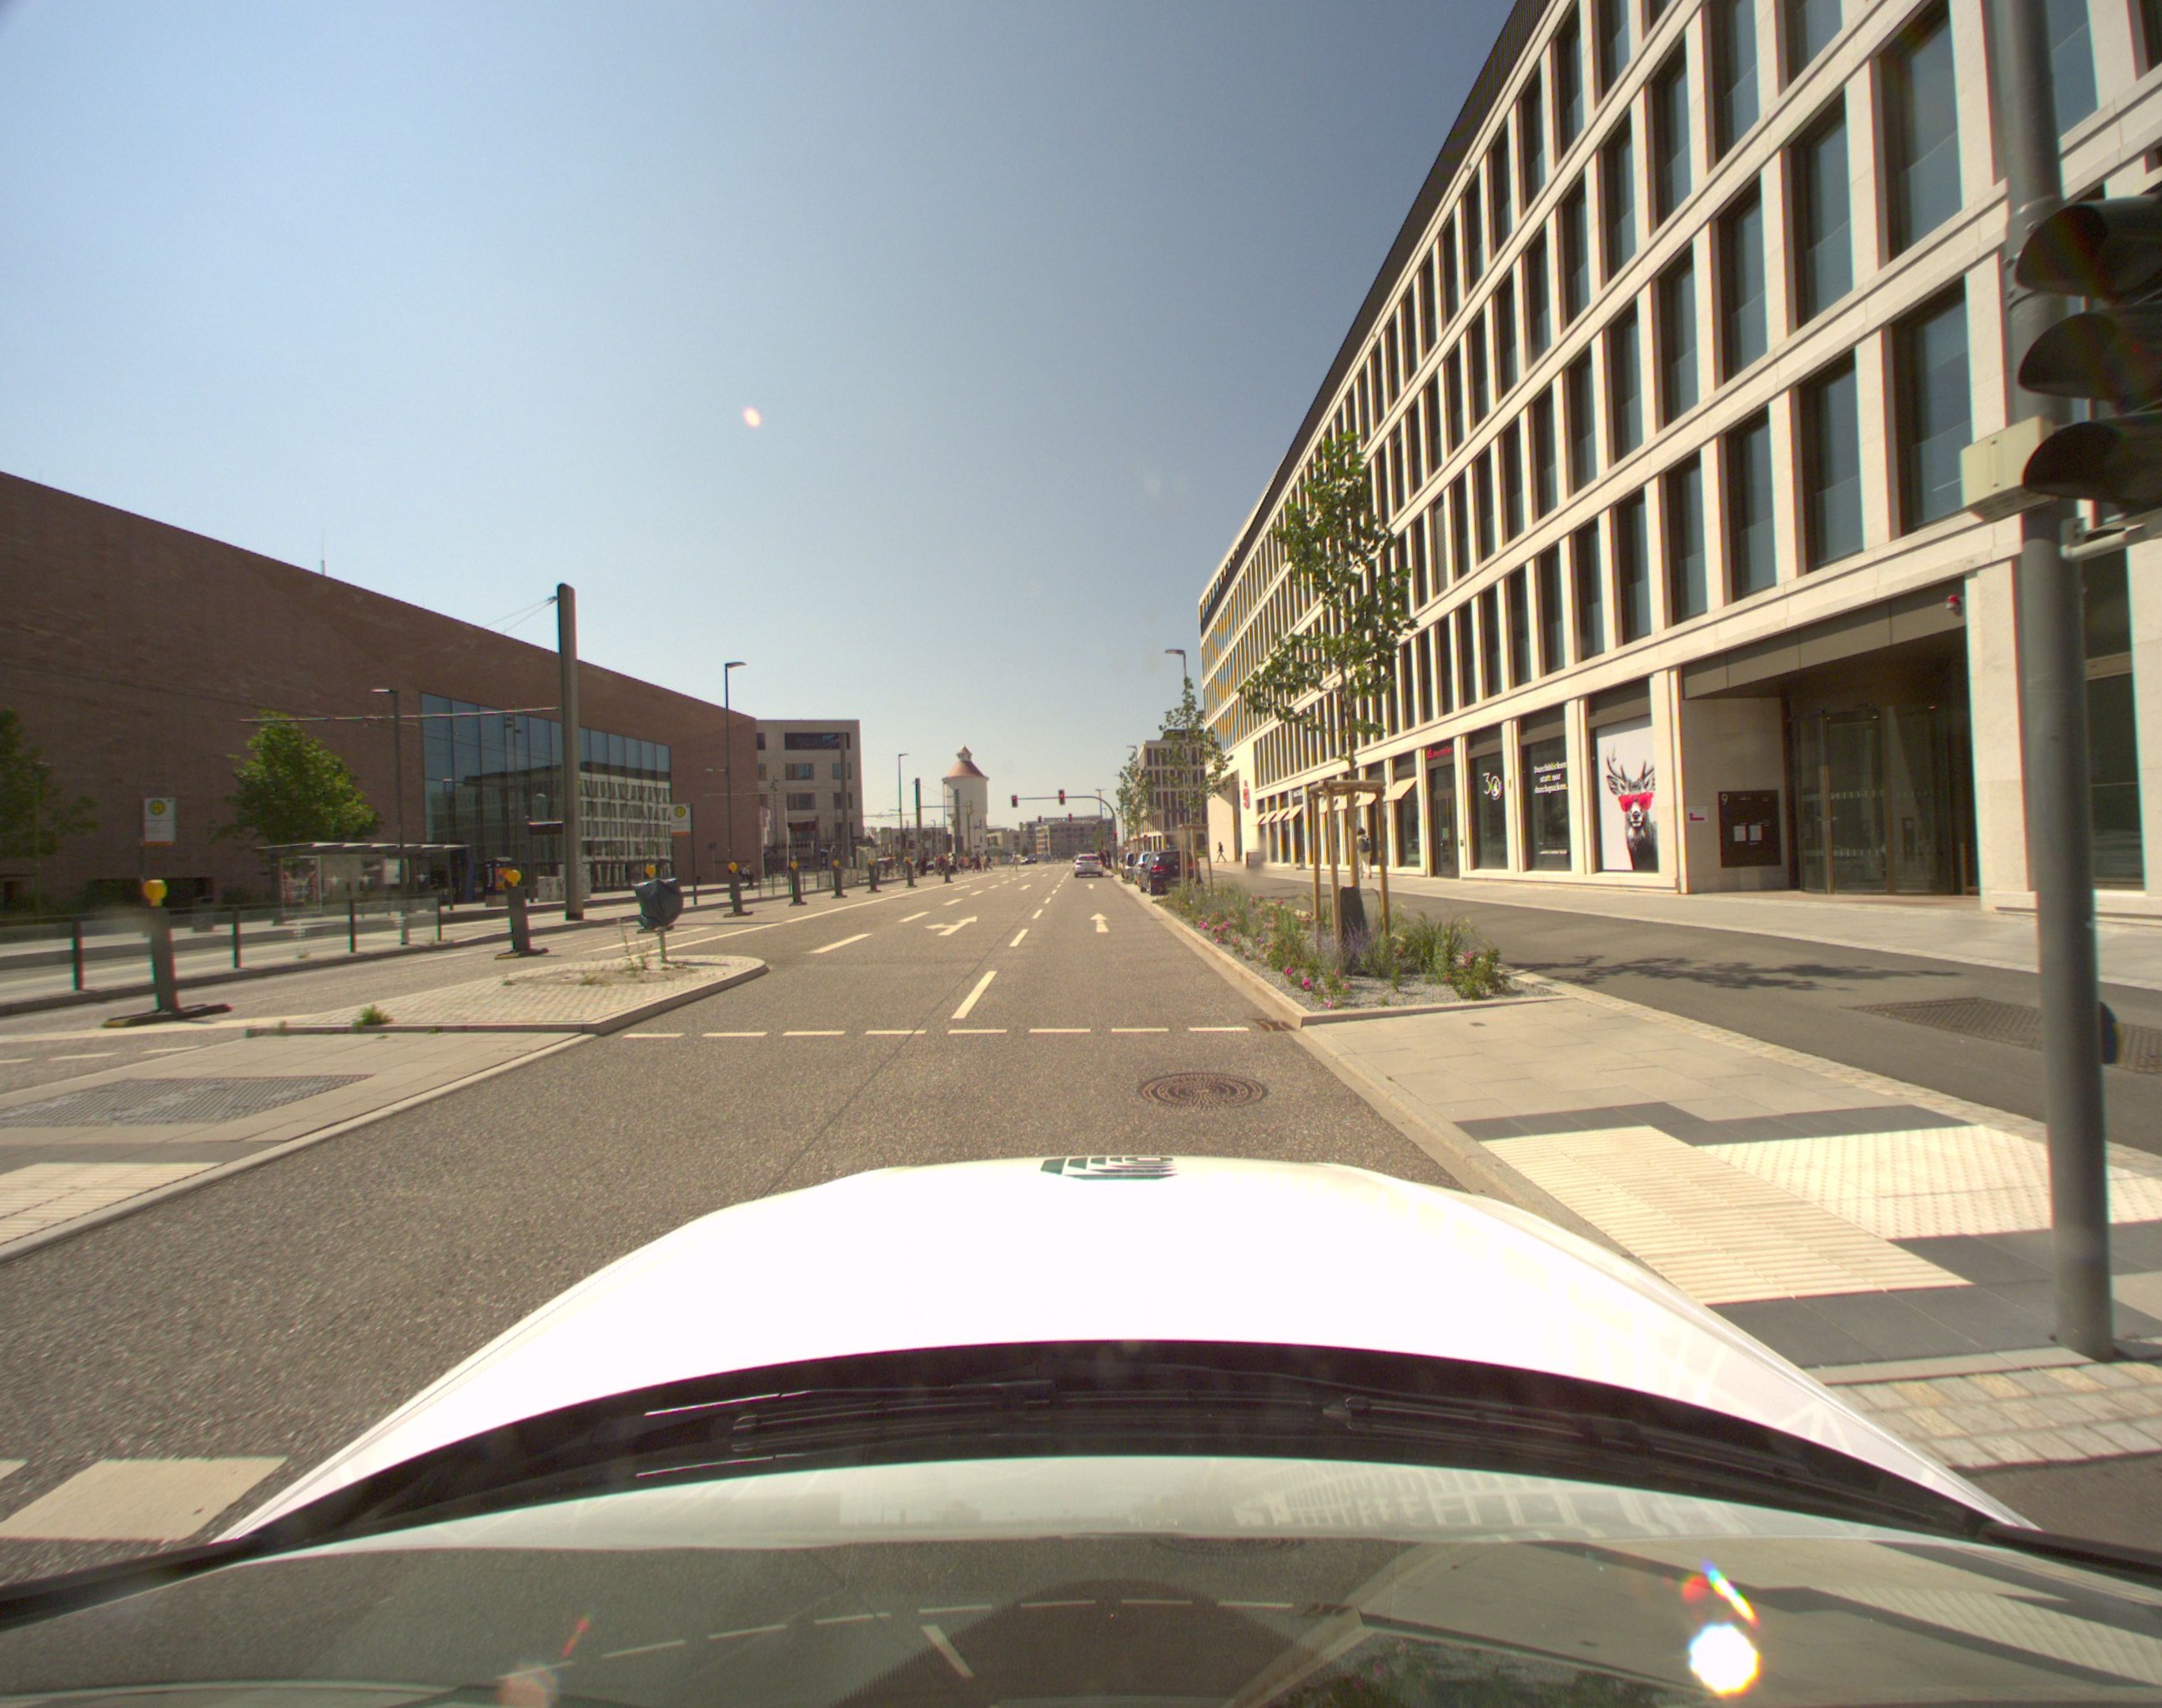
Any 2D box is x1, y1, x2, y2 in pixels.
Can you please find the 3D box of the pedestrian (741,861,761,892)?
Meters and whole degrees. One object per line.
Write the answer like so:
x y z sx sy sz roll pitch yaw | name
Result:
-19.377 1.308 47.815 0.808 1.820 0.825 -1 -1 0 | pedestrian

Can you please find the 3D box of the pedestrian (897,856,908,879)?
-14.608 1.086 66.701 0.634 1.890 0.797 -2 -1 2 | pedestrian

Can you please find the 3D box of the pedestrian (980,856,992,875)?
-8.661 1.066 74.059 0.896 1.674 1.007 -2 -1 -18 | pedestrian

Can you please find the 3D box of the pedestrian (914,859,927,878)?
-14.015 1.238 71.185 0.906 1.637 0.815 -2 -1 5 | pedestrian

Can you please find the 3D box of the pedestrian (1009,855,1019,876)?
-5.923 1.010 71.771 0.763 1.734 0.692 -2 -1 1 | pedestrian

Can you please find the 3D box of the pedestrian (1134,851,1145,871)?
4.893 0.562 68.110 0.760 1.620 0.695 -2 -1 17 | pedestrian

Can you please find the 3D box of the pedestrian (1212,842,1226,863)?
11.096 -0.094 65.380 0.986 1.655 0.692 -2 -1 1 | pedestrian

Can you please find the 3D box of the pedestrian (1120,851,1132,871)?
3.720 0.573 67.199 0.886 1.635 0.690 -2 -1 -5 | pedestrian

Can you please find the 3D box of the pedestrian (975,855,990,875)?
-9.262 1.049 76.670 1.175 1.820 1.070 -2 0 4 | pedestrian

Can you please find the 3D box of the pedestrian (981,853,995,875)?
-8.572 0.903 75.122 1.023 2.013 0.948 -2 -1 -18 | pedestrian

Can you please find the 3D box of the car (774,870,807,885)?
-39.078 3.165 109.502 3.944 1.816 1.791 -1 -1 -12 | car

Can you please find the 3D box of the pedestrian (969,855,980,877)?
-9.352 1.023 71.600 0.838 1.890 0.692 -2 -1 1 | pedestrian

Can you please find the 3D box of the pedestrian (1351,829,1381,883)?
9.506 0.073 27.189 0.625 1.742 0.814 -2 0 0 | pedestrian

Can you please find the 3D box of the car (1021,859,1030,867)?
-11.293 1.781 165.658 1.582 1.530 3.255 -1 -1 -2 | car

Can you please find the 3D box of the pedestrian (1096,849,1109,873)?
1.779 0.565 67.054 0.886 1.890 0.795 -2 -1 -5 | pedestrian

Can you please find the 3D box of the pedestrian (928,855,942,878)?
-12.465 1.090 69.535 0.883 1.890 0.797 -2 -1 5 | pedestrian

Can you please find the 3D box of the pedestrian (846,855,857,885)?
-13.936 0.961 49.415 0.551 1.820 0.596 -1 -1 -21 | pedestrian

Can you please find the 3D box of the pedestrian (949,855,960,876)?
-11.195 1.001 72.074 0.731 1.890 0.714 0 -1 5 | pedestrian

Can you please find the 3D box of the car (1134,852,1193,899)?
2.815 0.726 28.430 1.730 1.474 3.981 -1 -1 2 | car

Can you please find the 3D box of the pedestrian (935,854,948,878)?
-11.247 1.003 65.810 0.886 1.890 0.690 -2 -1 -5 | pedestrian

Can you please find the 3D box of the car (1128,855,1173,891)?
3.026 0.793 35.926 1.600 1.387 3.814 -3 0 0 | car

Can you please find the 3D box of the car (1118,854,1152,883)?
2.870 0.764 43.851 1.551 1.472 3.469 -2 0 0 | car

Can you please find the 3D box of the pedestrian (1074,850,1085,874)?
-0.094 0.653 67.181 0.726 1.890 0.822 -2 -1 6 | pedestrian

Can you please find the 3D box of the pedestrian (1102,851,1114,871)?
2.364 0.596 70.844 0.888 1.647 0.794 -2 -1 -10 | pedestrian

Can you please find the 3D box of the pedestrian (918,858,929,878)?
-13.043 1.160 67.467 0.630 1.618 0.769 -2 -1 6 | pedestrian

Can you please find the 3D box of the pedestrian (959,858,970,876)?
-11.046 1.247 77.271 0.884 1.647 0.797 -2 -1 4 | pedestrian

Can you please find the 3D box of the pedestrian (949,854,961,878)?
-10.306 0.961 66.599 0.886 1.890 0.690 -2 -1 -5 | pedestrian

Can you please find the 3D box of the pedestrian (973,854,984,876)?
-8.861 0.963 70.669 0.763 1.890 0.692 -2 -1 1 | pedestrian

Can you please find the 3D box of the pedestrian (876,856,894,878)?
-17.269 1.138 71.723 1.165 1.890 1.060 -2 1 1 | pedestrian

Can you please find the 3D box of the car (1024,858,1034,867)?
-8.944 1.428 140.243 1.582 1.530 3.691 -1 -1 -1 | car

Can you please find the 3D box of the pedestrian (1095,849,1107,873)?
1.664 0.586 67.894 0.886 1.890 0.795 -2 -1 -5 | pedestrian

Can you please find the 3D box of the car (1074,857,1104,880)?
0.555 0.929 51.321 1.765 1.395 3.533 -1 -2 2 | car

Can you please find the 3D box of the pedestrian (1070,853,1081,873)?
-0.438 0.744 68.138 0.791 1.647 0.891 -2 0 2 | pedestrian

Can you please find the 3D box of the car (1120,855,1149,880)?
3.171 0.796 48.588 1.425 1.390 3.999 -2 0 0 | car

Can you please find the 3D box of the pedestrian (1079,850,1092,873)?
0.361 0.607 66.215 1.011 1.890 0.797 -2 -1 -3 | pedestrian

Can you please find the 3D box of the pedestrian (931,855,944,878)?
-11.966 1.036 67.878 0.886 1.890 0.690 -2 -1 -5 | pedestrian

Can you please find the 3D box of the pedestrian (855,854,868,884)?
-13.503 0.930 50.111 0.665 1.820 0.718 0 -1 -23 | pedestrian

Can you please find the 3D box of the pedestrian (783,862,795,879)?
-27.676 1.544 77.196 0.709 1.572 0.890 -2 0 -1 | pedestrian

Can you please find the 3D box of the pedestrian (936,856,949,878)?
-11.962 1.107 70.378 0.885 1.890 0.796 -2 -1 0 | pedestrian

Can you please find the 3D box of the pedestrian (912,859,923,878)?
-13.906 1.242 69.231 0.724 1.576 0.642 -2 -1 5 | pedestrian

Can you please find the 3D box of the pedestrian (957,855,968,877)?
-10.138 1.028 69.710 0.763 1.890 0.692 -2 -1 1 | pedestrian
